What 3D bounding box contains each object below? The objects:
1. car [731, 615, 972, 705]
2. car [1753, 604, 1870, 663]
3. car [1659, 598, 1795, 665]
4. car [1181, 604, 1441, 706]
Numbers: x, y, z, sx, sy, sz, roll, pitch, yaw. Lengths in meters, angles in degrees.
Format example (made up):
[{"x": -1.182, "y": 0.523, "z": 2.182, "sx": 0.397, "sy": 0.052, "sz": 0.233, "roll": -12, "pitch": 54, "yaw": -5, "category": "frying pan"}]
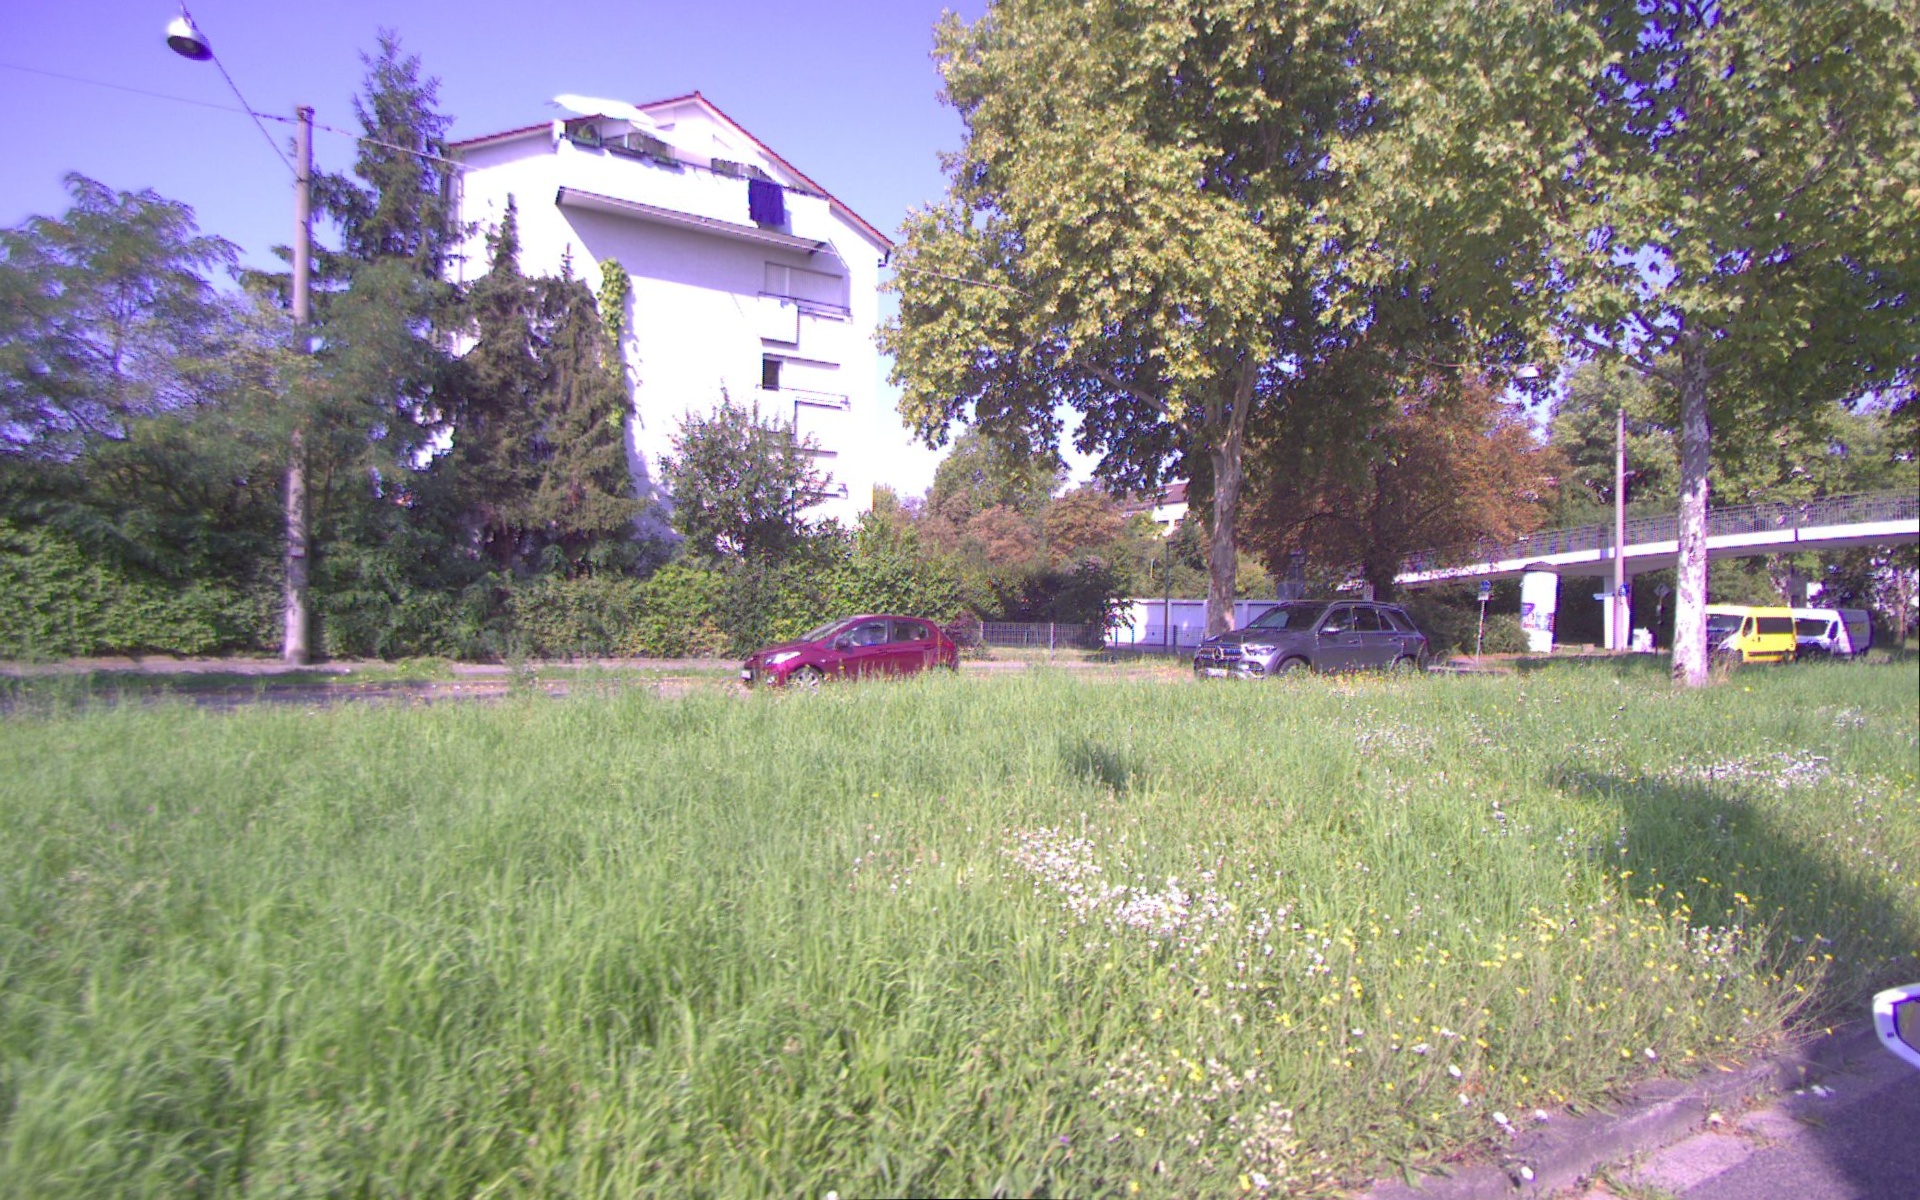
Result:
[{"x": -1.853, "y": 0.987, "z": 17.468, "sx": 3.855, "sy": 1.382, "sz": 1.636, "roll": 1, "pitch": 0, "yaw": -32, "category": "car"}, {"x": 38.316, "y": 1.527, "z": 45.146, "sx": 6.196, "sy": 2.462, "sz": 2.196, "roll": 2, "pitch": 0, "yaw": -32, "category": "car"}, {"x": 31.044, "y": 1.286, "z": 40.618, "sx": 5.989, "sy": 2.512, "sz": 2.197, "roll": 2, "pitch": 0, "yaw": -30, "category": "car"}, {"x": 6.479, "y": 0.981, "z": 18.391, "sx": 4.799, "sy": 1.638, "sz": 1.767, "roll": 2, "pitch": 0, "yaw": -30, "category": "car"}]
